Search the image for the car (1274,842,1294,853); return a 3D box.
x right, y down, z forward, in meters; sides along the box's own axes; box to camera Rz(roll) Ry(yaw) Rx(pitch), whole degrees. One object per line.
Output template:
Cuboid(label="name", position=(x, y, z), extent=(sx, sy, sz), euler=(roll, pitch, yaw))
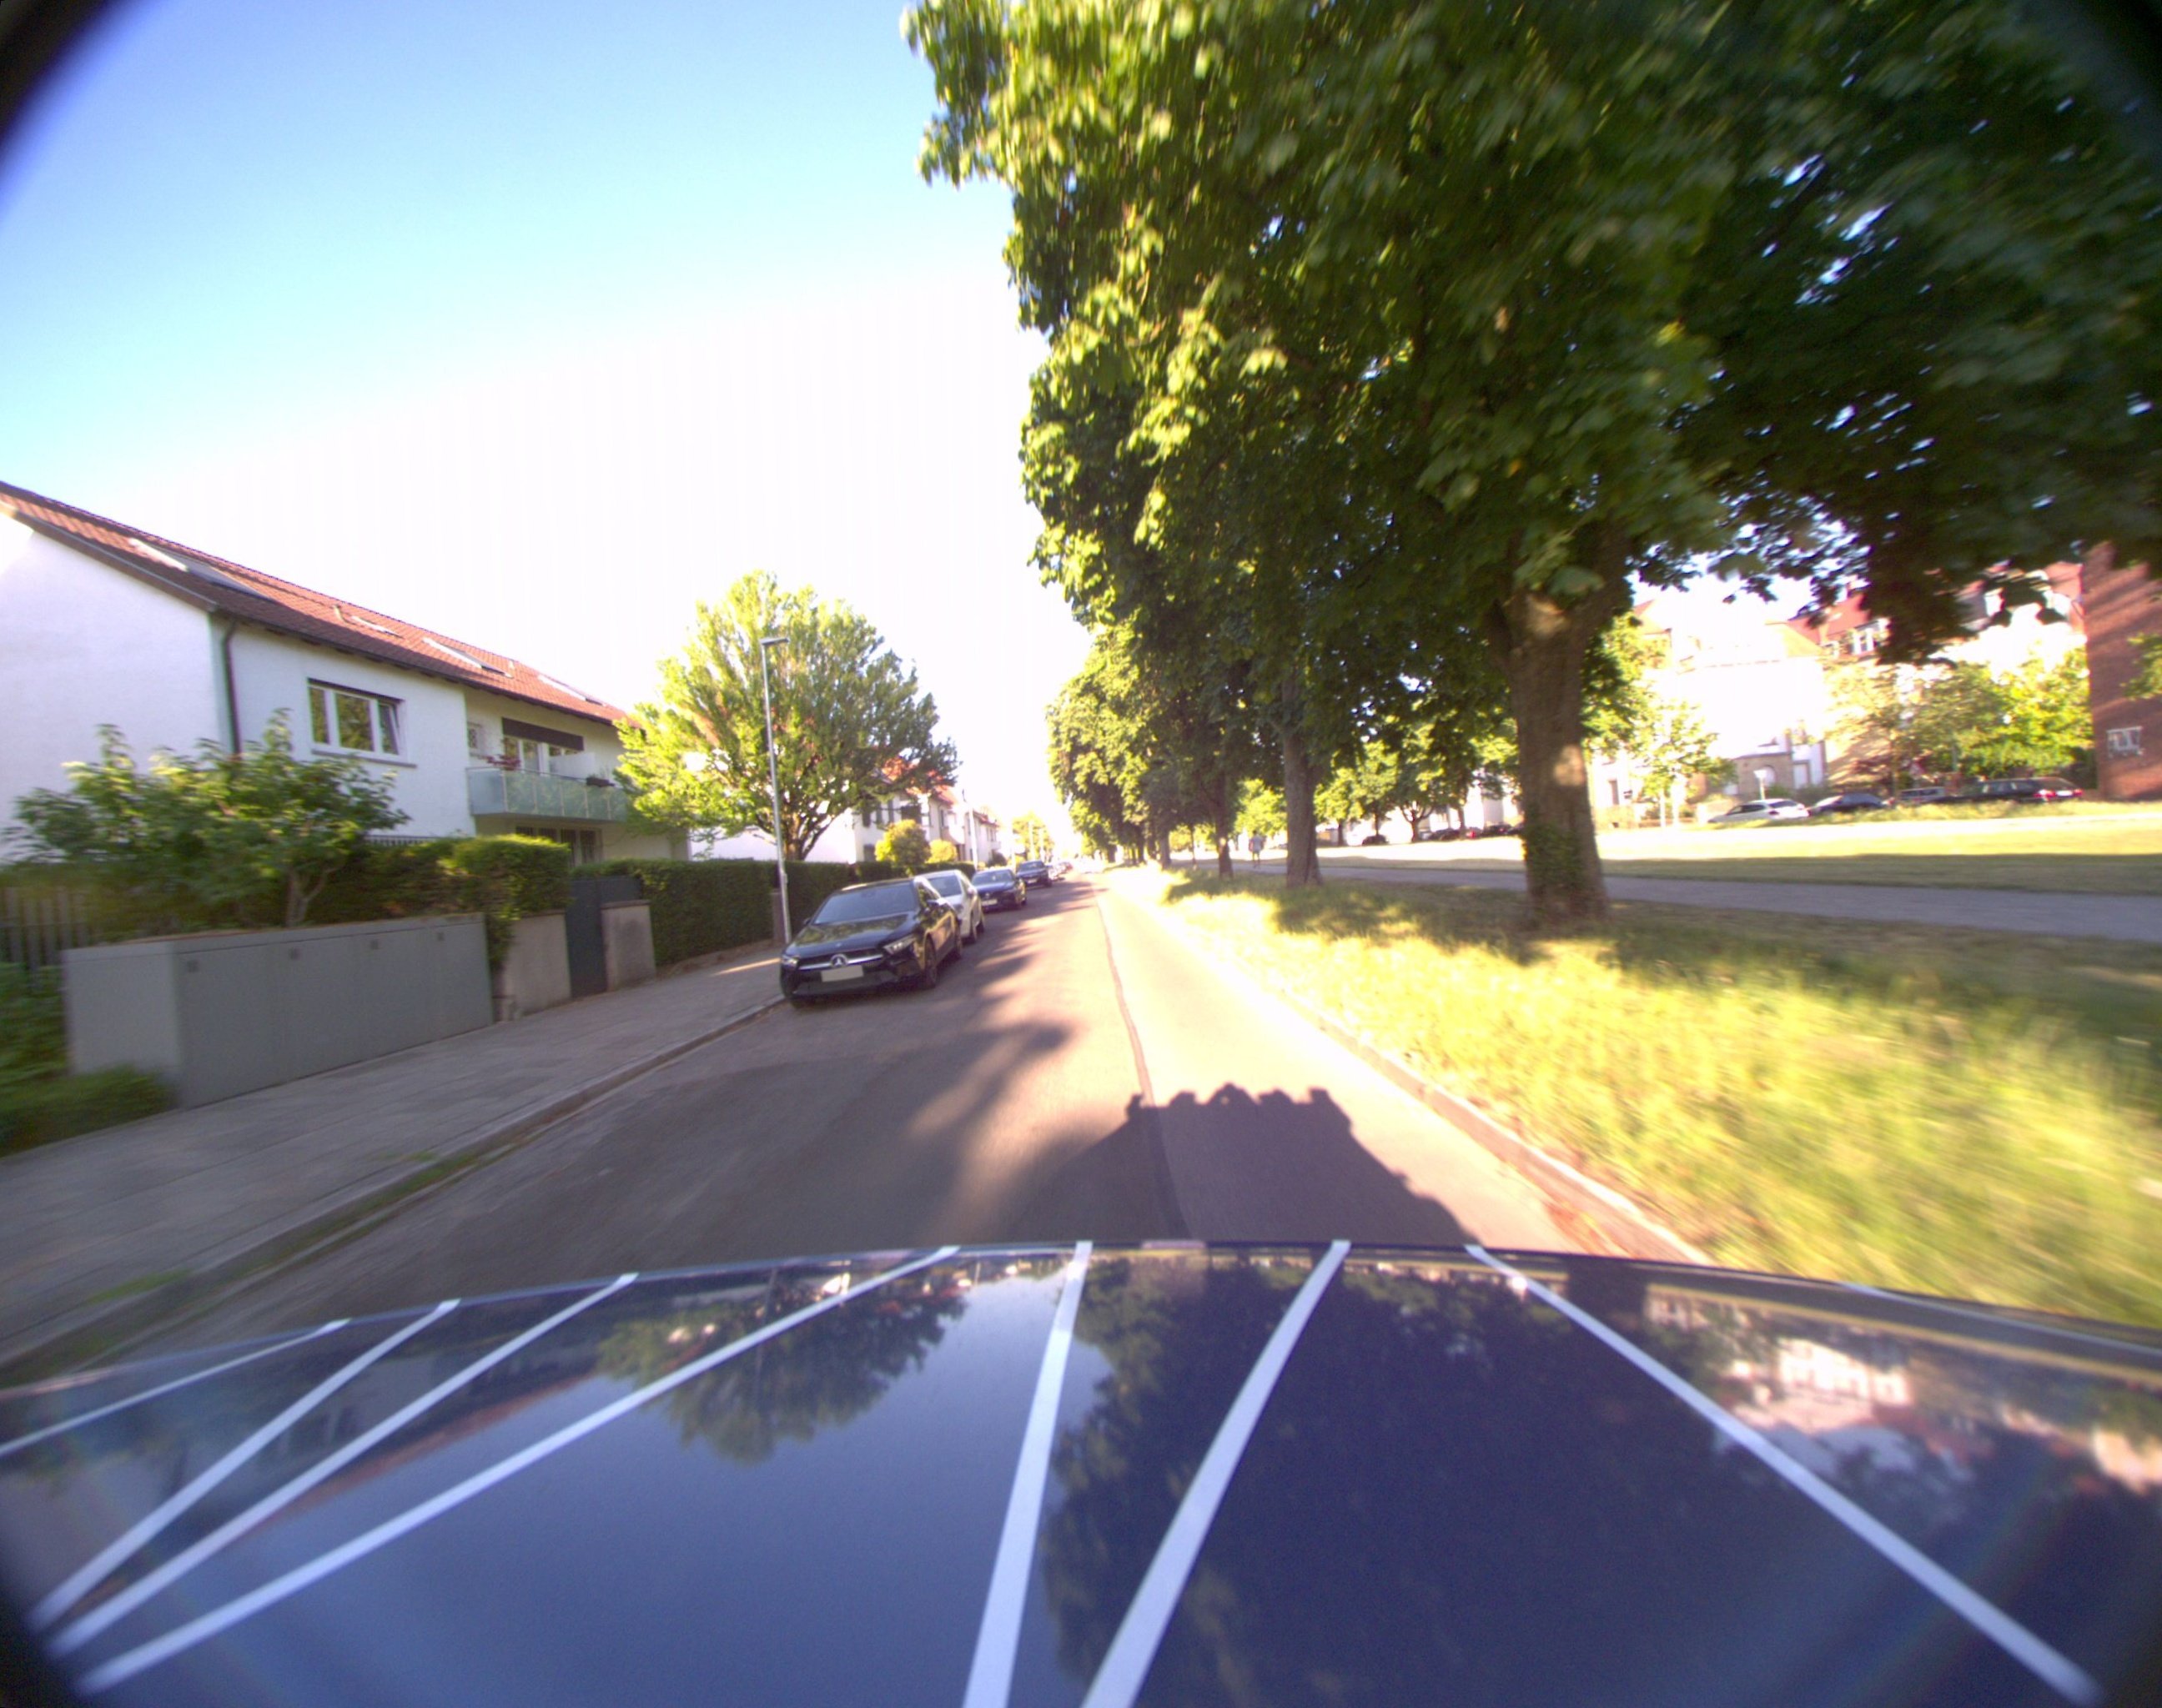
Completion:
Cuboid(label="car", position=(34.839, -1.121, 130.645), extent=(1.998, 1.680, 4.876), euler=(-5, 0, 1))

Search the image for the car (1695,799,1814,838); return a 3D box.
Cuboid(label="car", position=(34.168, -1.747, 38.735), extent=(1.824, 1.629, 4.650), euler=(-5, 0, 0))

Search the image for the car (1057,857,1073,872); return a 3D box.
Cuboid(label="car", position=(-2.183, 1.456, 102.909), extent=(1.863, 1.710, 4.467), euler=(-10, 0, -1))

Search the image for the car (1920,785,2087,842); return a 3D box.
Cuboid(label="car", position=(39.463, -1.669, 32.697), extent=(1.761, 2.001, 4.369), euler=(-5, -1, 1))

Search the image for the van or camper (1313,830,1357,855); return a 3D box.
Cuboid(label="van or camper", position=(35.031, -1.502, 105.061), extent=(3.262, 3.092, 7.897), euler=(-5, 0, 1))

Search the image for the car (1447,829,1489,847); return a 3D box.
Cuboid(label="car", position=(40.338, -1.657, 79.317), extent=(1.999, 1.642, 4.429), euler=(-5, 0, -1))

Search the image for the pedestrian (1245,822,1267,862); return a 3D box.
Cuboid(label="pedestrian", position=(7.857, -0.521, 34.167), extent=(0.726, 1.747, 0.993), euler=(-5, 0, 7))

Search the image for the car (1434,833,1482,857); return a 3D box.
Cuboid(label="car", position=(34.556, -0.781, 69.844), extent=(1.998, 2.002, 4.876), euler=(-5, 0, 2))

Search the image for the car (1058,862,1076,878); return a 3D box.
Cuboid(label="car", position=(-1.605, 1.756, 85.515), extent=(1.784, 1.490, 4.397), euler=(-7, 0, -1))

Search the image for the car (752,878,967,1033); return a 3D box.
Cuboid(label="car", position=(-2.801, 1.202, 10.677), extent=(1.753, 1.468, 4.288), euler=(-6, 0, -2))

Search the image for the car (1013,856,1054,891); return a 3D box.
Cuboid(label="car", position=(-2.786, 1.110, 45.752), extent=(1.999, 1.727, 4.863), euler=(-8, 0, -1))

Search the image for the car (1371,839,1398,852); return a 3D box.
Cuboid(label="car", position=(41.108, -1.149, 103.133), extent=(1.998, 1.455, 4.000), euler=(-5, 0, 0))

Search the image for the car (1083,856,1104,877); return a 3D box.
Cuboid(label="car", position=(1.319, 1.350, 81.375), extent=(1.998, 2.002, 4.000), euler=(-5, 0, 1))

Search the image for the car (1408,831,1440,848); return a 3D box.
Cuboid(label="car", position=(40.398, -1.717, 89.517), extent=(1.998, 1.724, 4.001), euler=(-5, -1, 2))

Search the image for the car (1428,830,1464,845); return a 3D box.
Cuboid(label="car", position=(40.738, -1.830, 84.879), extent=(1.998, 1.421, 4.170), euler=(-5, -1, 2))

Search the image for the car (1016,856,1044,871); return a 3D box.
Cuboid(label="car", position=(-7.684, 1.406, 114.999), extent=(3.998, 1.916, 2.000), euler=(-5, 0, -3))

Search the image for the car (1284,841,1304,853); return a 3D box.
Cuboid(label="car", position=(35.083, -1.143, 125.263), extent=(1.998, 1.680, 4.876), euler=(-5, 0, 1))

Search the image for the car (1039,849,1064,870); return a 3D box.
Cuboid(label="car", position=(-2.591, 0.503, 67.083), extent=(1.999, 1.455, 4.549), euler=(-8, 0, -2))

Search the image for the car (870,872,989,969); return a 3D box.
Cuboid(label="car", position=(-2.975, 1.246, 15.715), extent=(1.696, 1.474, 3.928), euler=(-9, 0, -3))

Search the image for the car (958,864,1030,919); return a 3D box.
Cuboid(label="car", position=(-2.848, 1.180, 25.903), extent=(1.798, 1.483, 4.674), euler=(-5, 0, 0))

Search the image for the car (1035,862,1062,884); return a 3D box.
Cuboid(label="car", position=(-2.514, 1.450, 59.785), extent=(1.784, 1.454, 4.594), euler=(-7, 0, 0))
